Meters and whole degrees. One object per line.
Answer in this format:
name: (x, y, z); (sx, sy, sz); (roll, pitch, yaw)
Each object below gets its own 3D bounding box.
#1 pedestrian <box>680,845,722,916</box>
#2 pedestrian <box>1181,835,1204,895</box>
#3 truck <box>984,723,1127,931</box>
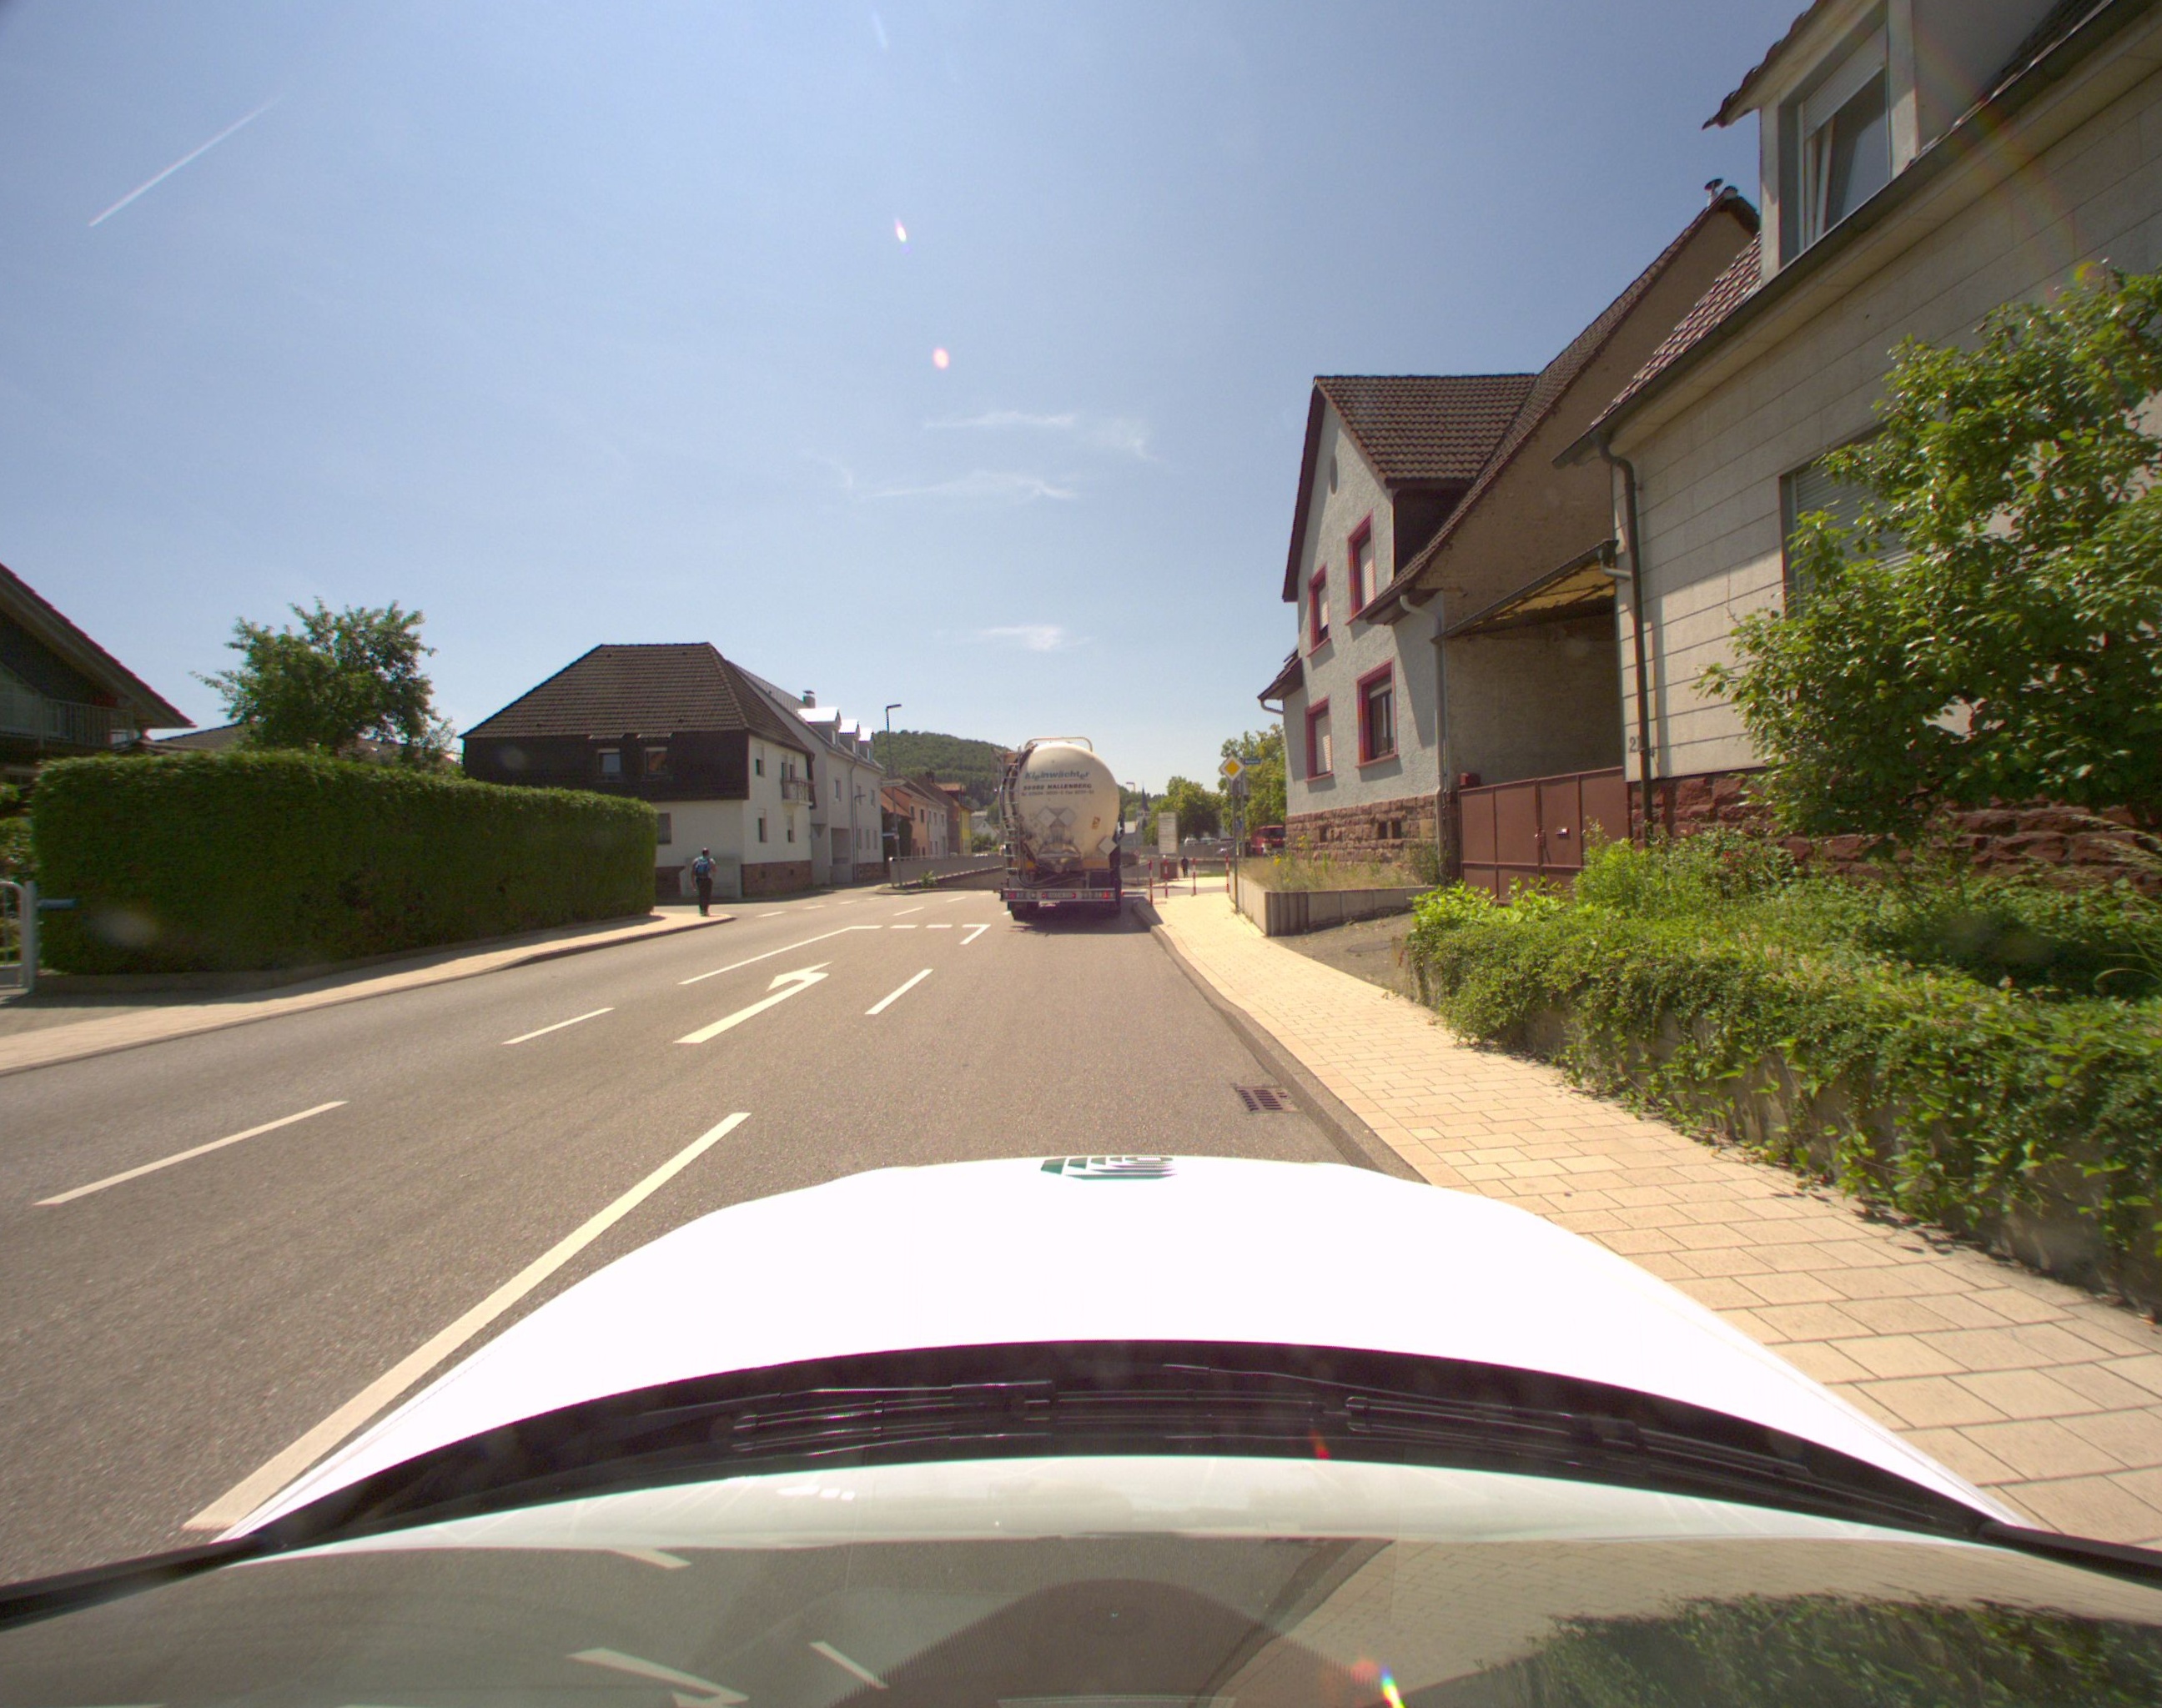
pedestrian: (-9.974, 0.694, 21.403); (0.711, 1.823, 0.897); (0, -1, -5)
pedestrian: (3.187, 0.308, 23.288); (0.568, 1.694, 0.721); (0, -1, 3)
truck: (-0.647, -0.549, 21.494); (2.743, 4.056, 10.881); (-1, 0, -2)
